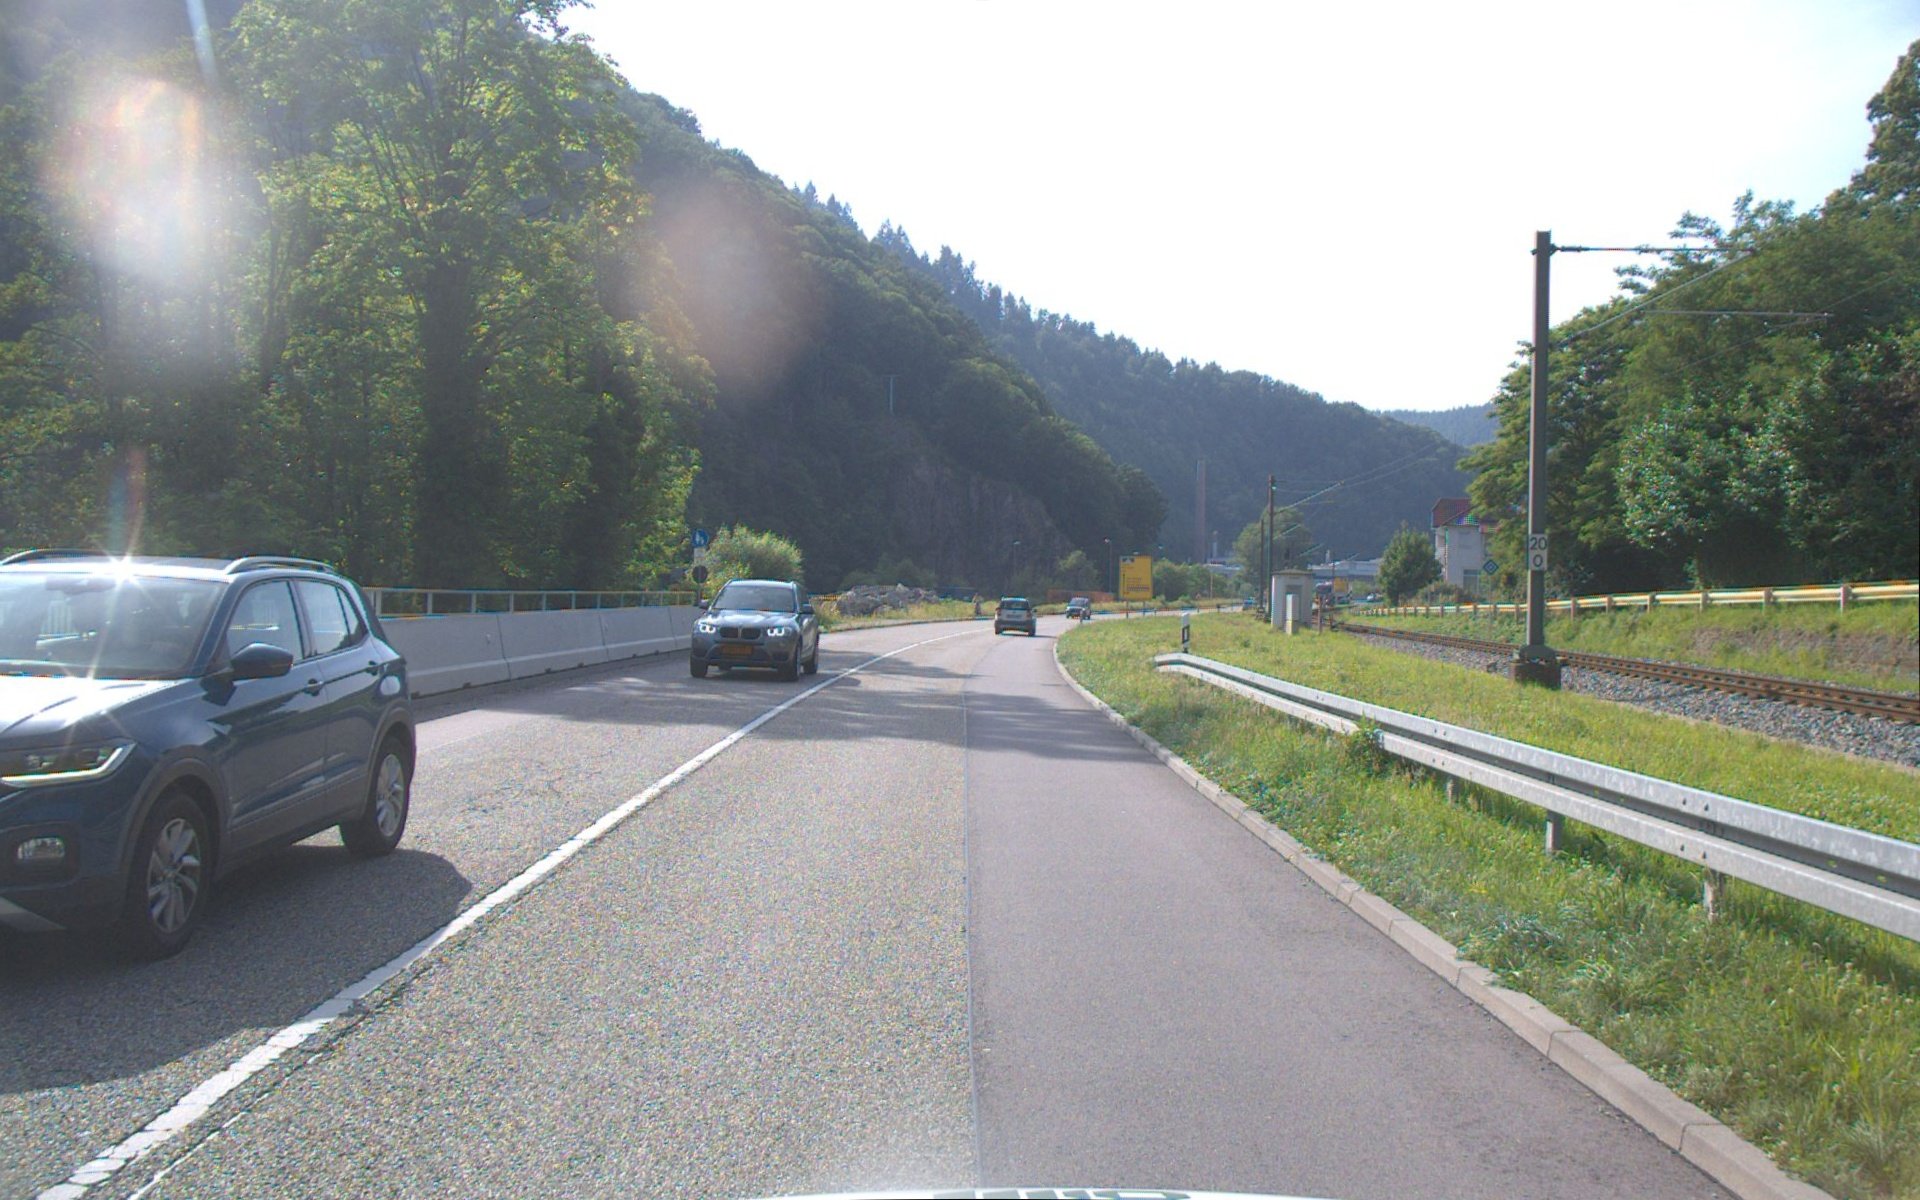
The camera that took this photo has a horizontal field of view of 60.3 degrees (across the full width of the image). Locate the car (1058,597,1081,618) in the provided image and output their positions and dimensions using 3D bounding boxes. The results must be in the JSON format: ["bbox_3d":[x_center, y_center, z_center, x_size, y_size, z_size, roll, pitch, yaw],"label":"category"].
[{"bbox_3d":[9.728,0.645,146.733,1.812,1.816,4.687,2,0,6],"label":"car"}]

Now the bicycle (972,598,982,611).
[{"bbox_3d":[1.197,0.343,117.385,0.528,0.896,2.254,2,0,5],"label":"bicycle"}]

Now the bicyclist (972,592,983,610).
[{"bbox_3d":[1.256,0.054,117.402,0.669,1.246,0.859,2,0,5],"label":"bicyclist"}]

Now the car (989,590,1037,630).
[{"bbox_3d":[2.434,0.447,75.254,1.951,1.754,3.992,-1,0,4],"label":"car"}]

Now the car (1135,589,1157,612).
[{"bbox_3d":[17.040,0.010,151.288,1.951,2.049,4.003,-1,0,7],"label":"car"}]

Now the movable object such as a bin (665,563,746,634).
[{"bbox_3d":[-15.144,-0.078,99.282,2.642,4.016,9.994,-1,0,4],"label":"movable object such as a bin"}]

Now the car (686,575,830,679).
[{"bbox_3d":[-3.481,0.435,29.263,1.953,1.657,4.507,2,0,0],"label":"car"}]

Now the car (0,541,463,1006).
[{"bbox_3d":[-3.869,0.562,7.807,1.762,1.583,4.331,1,0,-1],"label":"car"}]
